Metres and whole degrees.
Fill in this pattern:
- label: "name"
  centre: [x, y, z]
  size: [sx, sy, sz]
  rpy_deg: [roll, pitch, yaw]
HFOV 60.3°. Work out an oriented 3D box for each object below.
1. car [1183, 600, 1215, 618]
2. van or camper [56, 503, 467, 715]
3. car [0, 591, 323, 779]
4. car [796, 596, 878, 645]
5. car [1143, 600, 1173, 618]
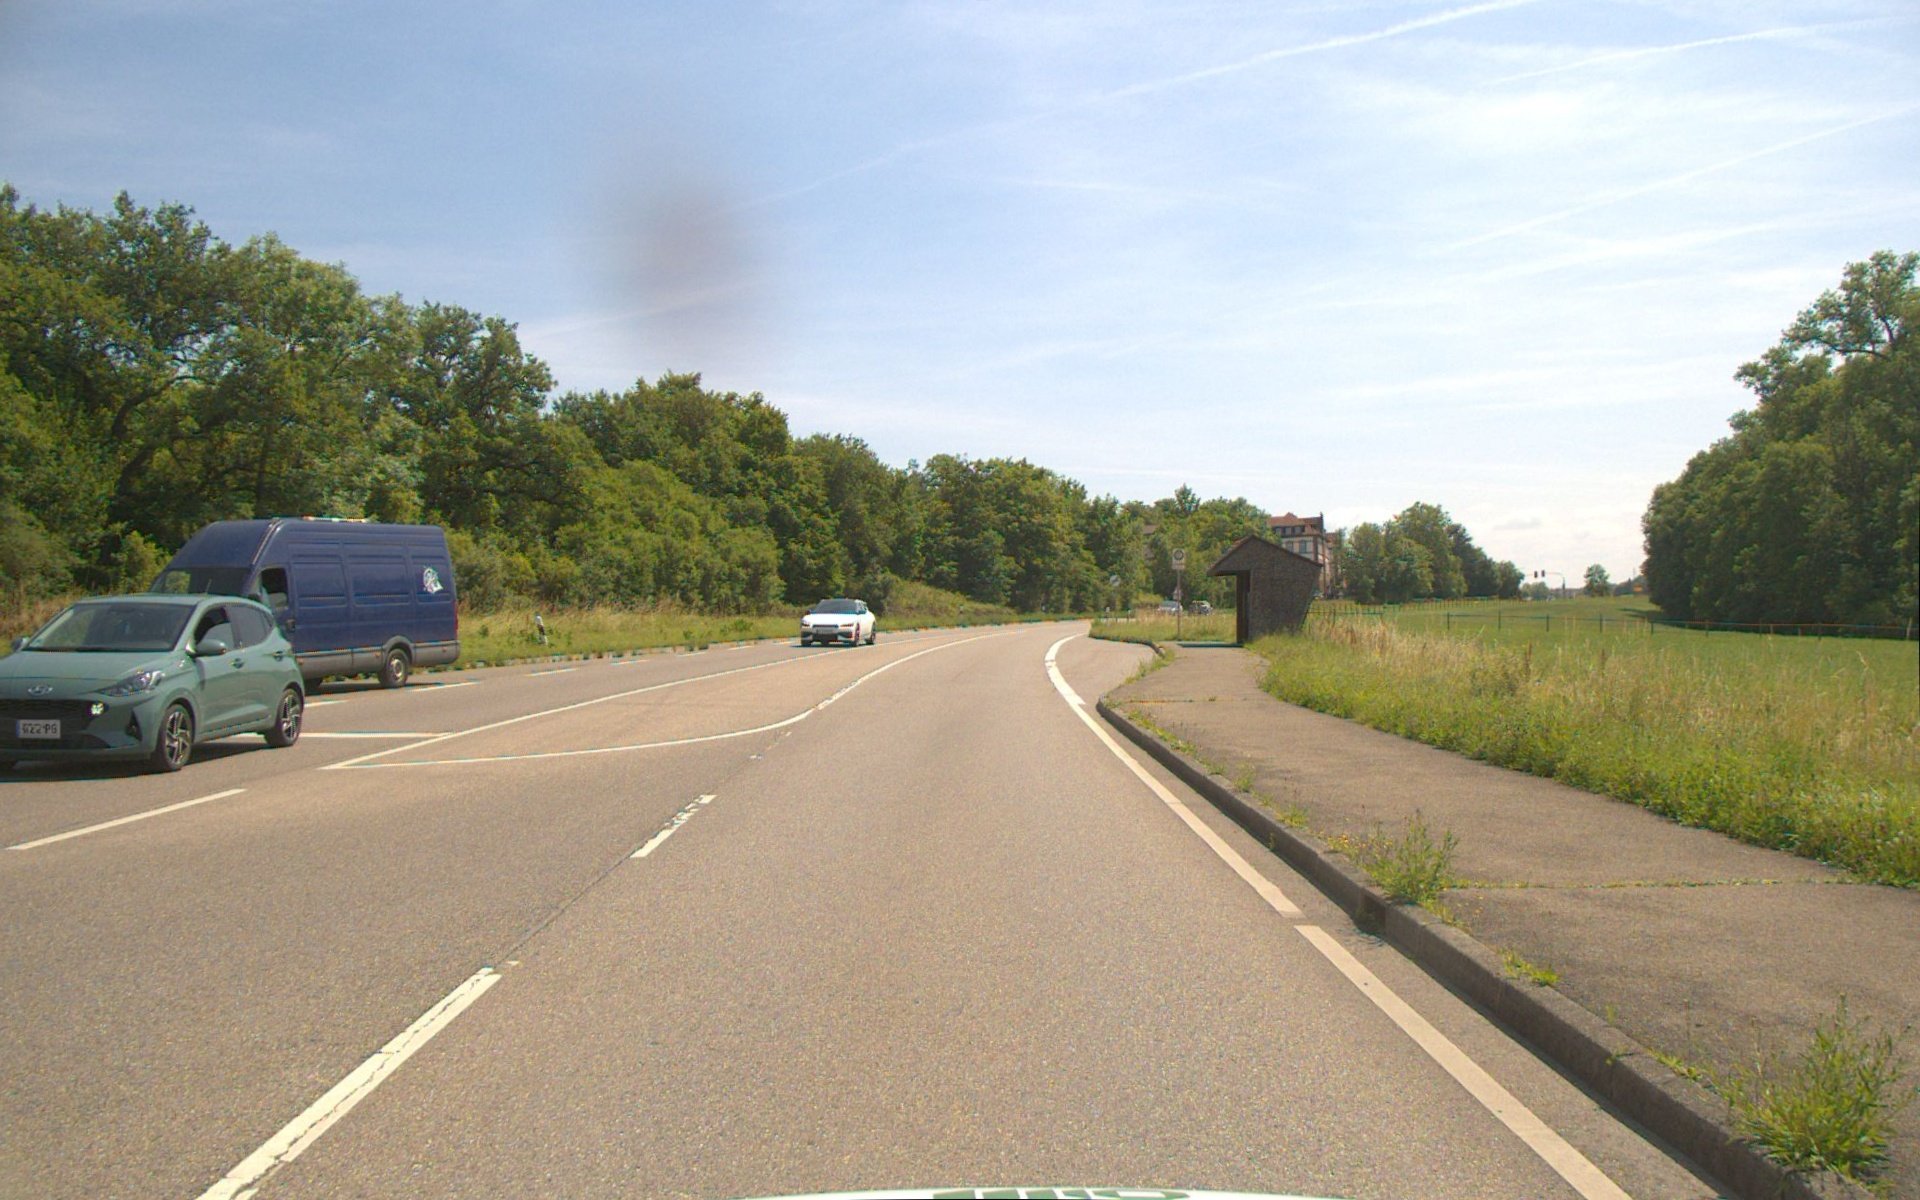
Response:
- label: "car"
  centre: [21.535, 0.823, 149.229]
  size: [1.953, 1.601, 3.999]
  rpy_deg: [0, 0, 22]
- label: "van or camper"
  centre: [-10.975, 0.058, 26.955]
  size: [2.192, 2.965, 7.253]
  rpy_deg: [0, 1, 14]
- label: "car"
  centre: [-7.445, 0.693, 15.237]
  size: [1.672, 1.509, 3.832]
  rpy_deg: [0, 0, 0]
- label: "car"
  centre: [-4.058, 0.673, 55.518]
  size: [1.896, 1.575, 4.631]
  rpy_deg: [0, 0, 7]
- label: "car"
  centre: [18.138, 0.833, 151.336]
  size: [1.718, 1.561, 4.228]
  rpy_deg: [0, 0, 21]
